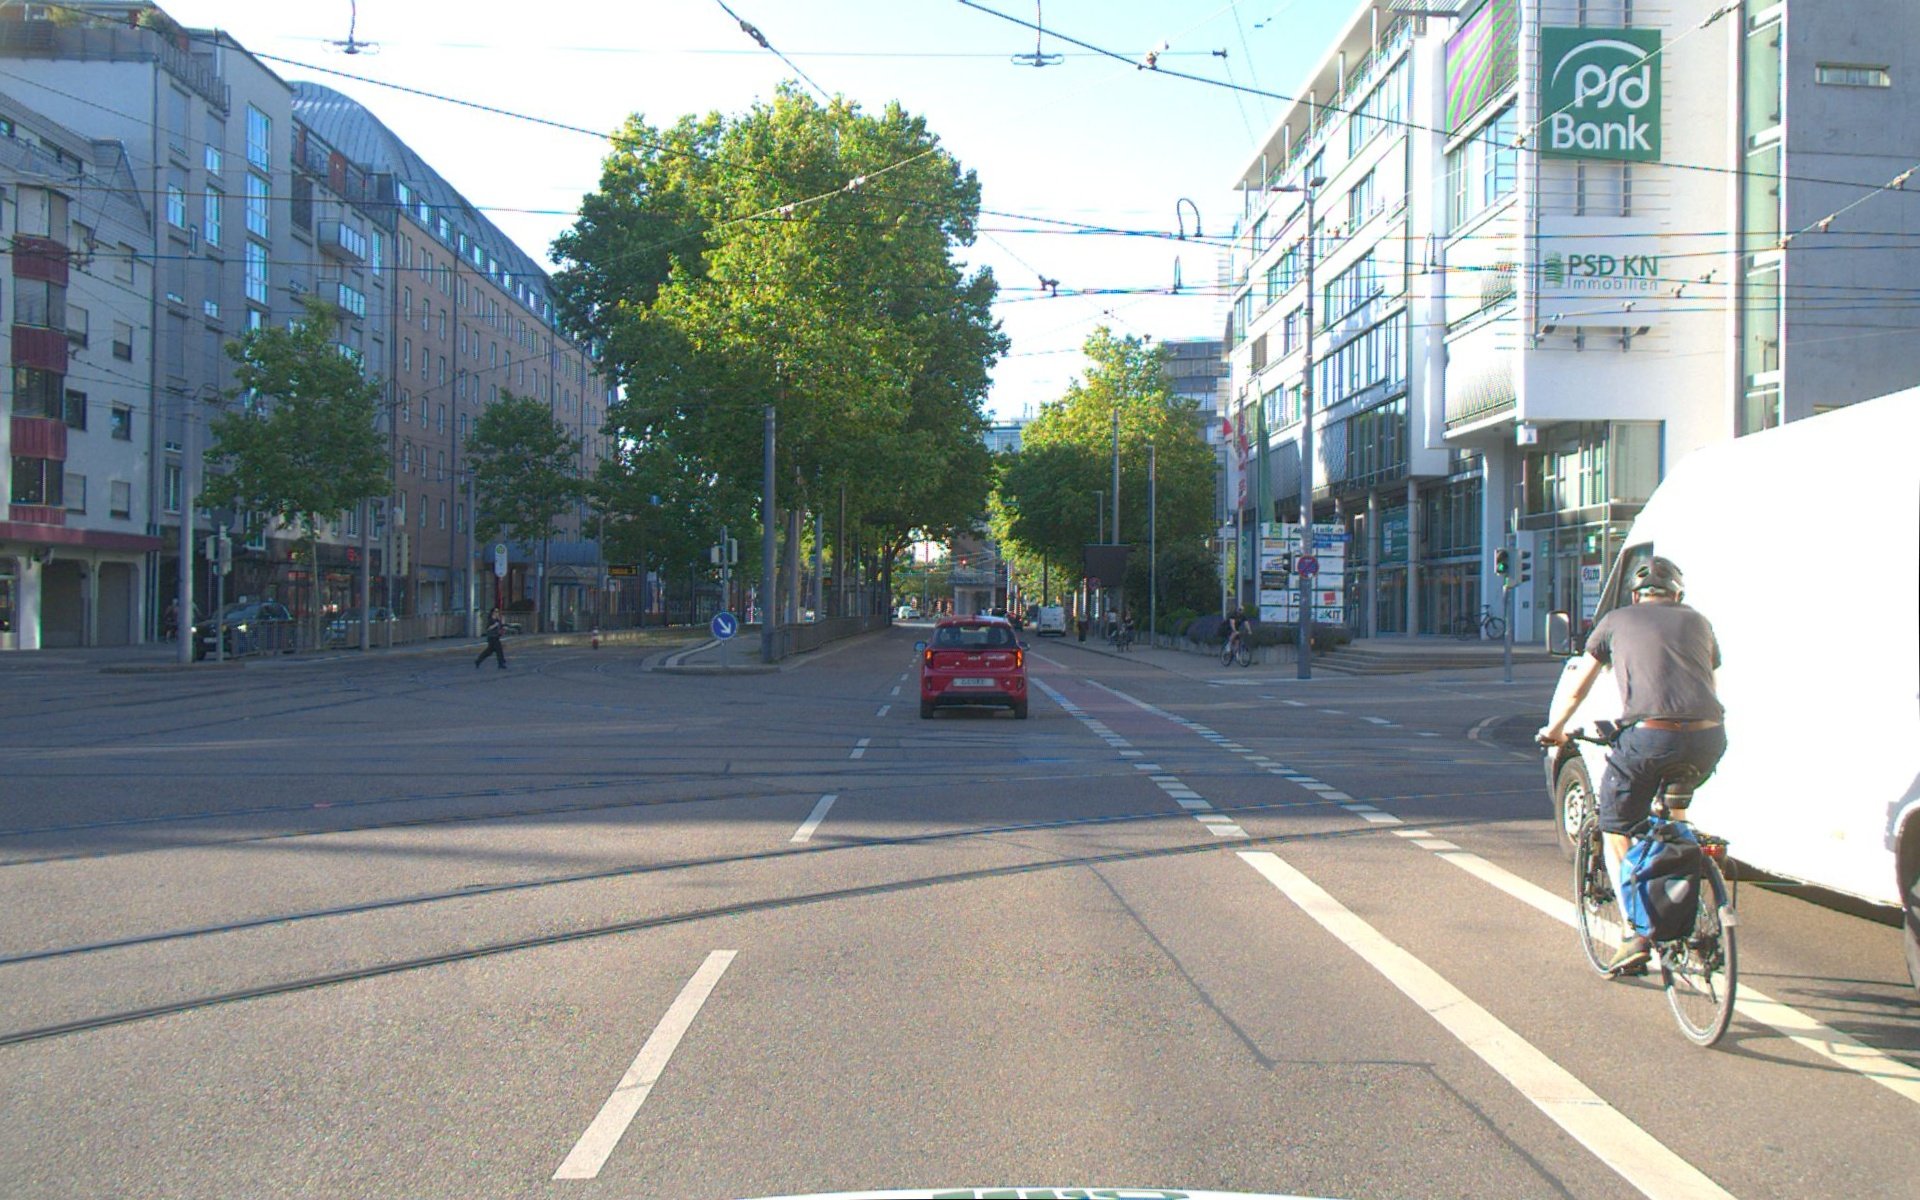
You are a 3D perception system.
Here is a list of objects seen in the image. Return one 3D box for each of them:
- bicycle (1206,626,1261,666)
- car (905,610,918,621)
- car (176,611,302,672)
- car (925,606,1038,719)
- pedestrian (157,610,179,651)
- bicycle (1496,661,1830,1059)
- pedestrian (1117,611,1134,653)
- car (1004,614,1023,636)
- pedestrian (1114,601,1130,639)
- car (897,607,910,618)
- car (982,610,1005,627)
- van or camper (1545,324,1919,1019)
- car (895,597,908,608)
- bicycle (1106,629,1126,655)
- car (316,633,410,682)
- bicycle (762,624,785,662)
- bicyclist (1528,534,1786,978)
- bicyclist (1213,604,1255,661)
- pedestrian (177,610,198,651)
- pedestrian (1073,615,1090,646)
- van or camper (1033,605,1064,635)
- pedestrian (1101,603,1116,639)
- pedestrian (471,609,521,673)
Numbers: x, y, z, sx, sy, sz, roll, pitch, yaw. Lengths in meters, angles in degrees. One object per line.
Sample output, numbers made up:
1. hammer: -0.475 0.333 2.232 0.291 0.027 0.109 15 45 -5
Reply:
1. bicycle: 8.067 1.365 48.846 0.687 1.117 1.737 -3 0 -24
2. car: -7.038 2.250 239.042 1.743 1.561 3.408 1 0 -5
3. car: -21.237 1.184 48.902 1.915 1.702 4.259 0 0 -1
4. car: 0.289 0.893 25.133 1.580 1.561 3.411 1 0 -1
5. pedestrian: -29.286 1.120 61.163 0.524 1.520 0.587 0 0 -4
6. bicycle: 2.748 0.934 6.704 0.636 1.303 1.967 0 0 4
7. pedestrian: 6.816 1.308 67.997 0.633 1.710 0.651 0 0 -1
8. car: 4.475 2.115 139.195 1.602 1.831 3.330 0 0 1
9. pedestrian: 7.934 0.967 81.042 0.529 1.827 0.906 -3 -1 -3
10. car: -8.397 1.874 245.615 1.743 1.561 3.408 1 0 -5
11. car: 3.172 1.795 157.536 1.743 1.561 3.508 1 0 -5
12. van or camper: 4.807 0.302 7.769 1.928 2.764 6.305 1 0 1
13. car: -8.867 0.407 251.632 1.743 1.616 3.408 1 0 -5
14. bicycle: 6.385 1.714 67.899 0.510 0.992 2.201 -3 0 -1
15. car: -21.501 2.036 59.722 1.915 1.623 4.259 0 0 -1
16. bicycle: -5.155 1.184 45.790 0.387 0.965 1.352 0 2 4
17. bicyclist: 2.755 0.575 6.647 0.636 1.631 1.089 0 0 4
18. bicyclist: 8.077 0.944 48.777 0.712 1.631 1.080 -2 0 -25
19. pedestrian: -28.717 1.140 61.495 0.524 1.520 0.587 0 0 -4
20. pedestrian: 6.318 1.580 86.036 0.630 1.607 0.722 -3 0 -9
21. van or camper: 6.087 1.362 114.214 1.952 2.024 4.744 1 -1 0
22. pedestrian: 7.274 1.048 81.044 0.553 1.732 0.906 -3 -1 -3
23. pedestrian: -11.517 1.017 41.091 1.024 1.571 0.695 0 0 3
